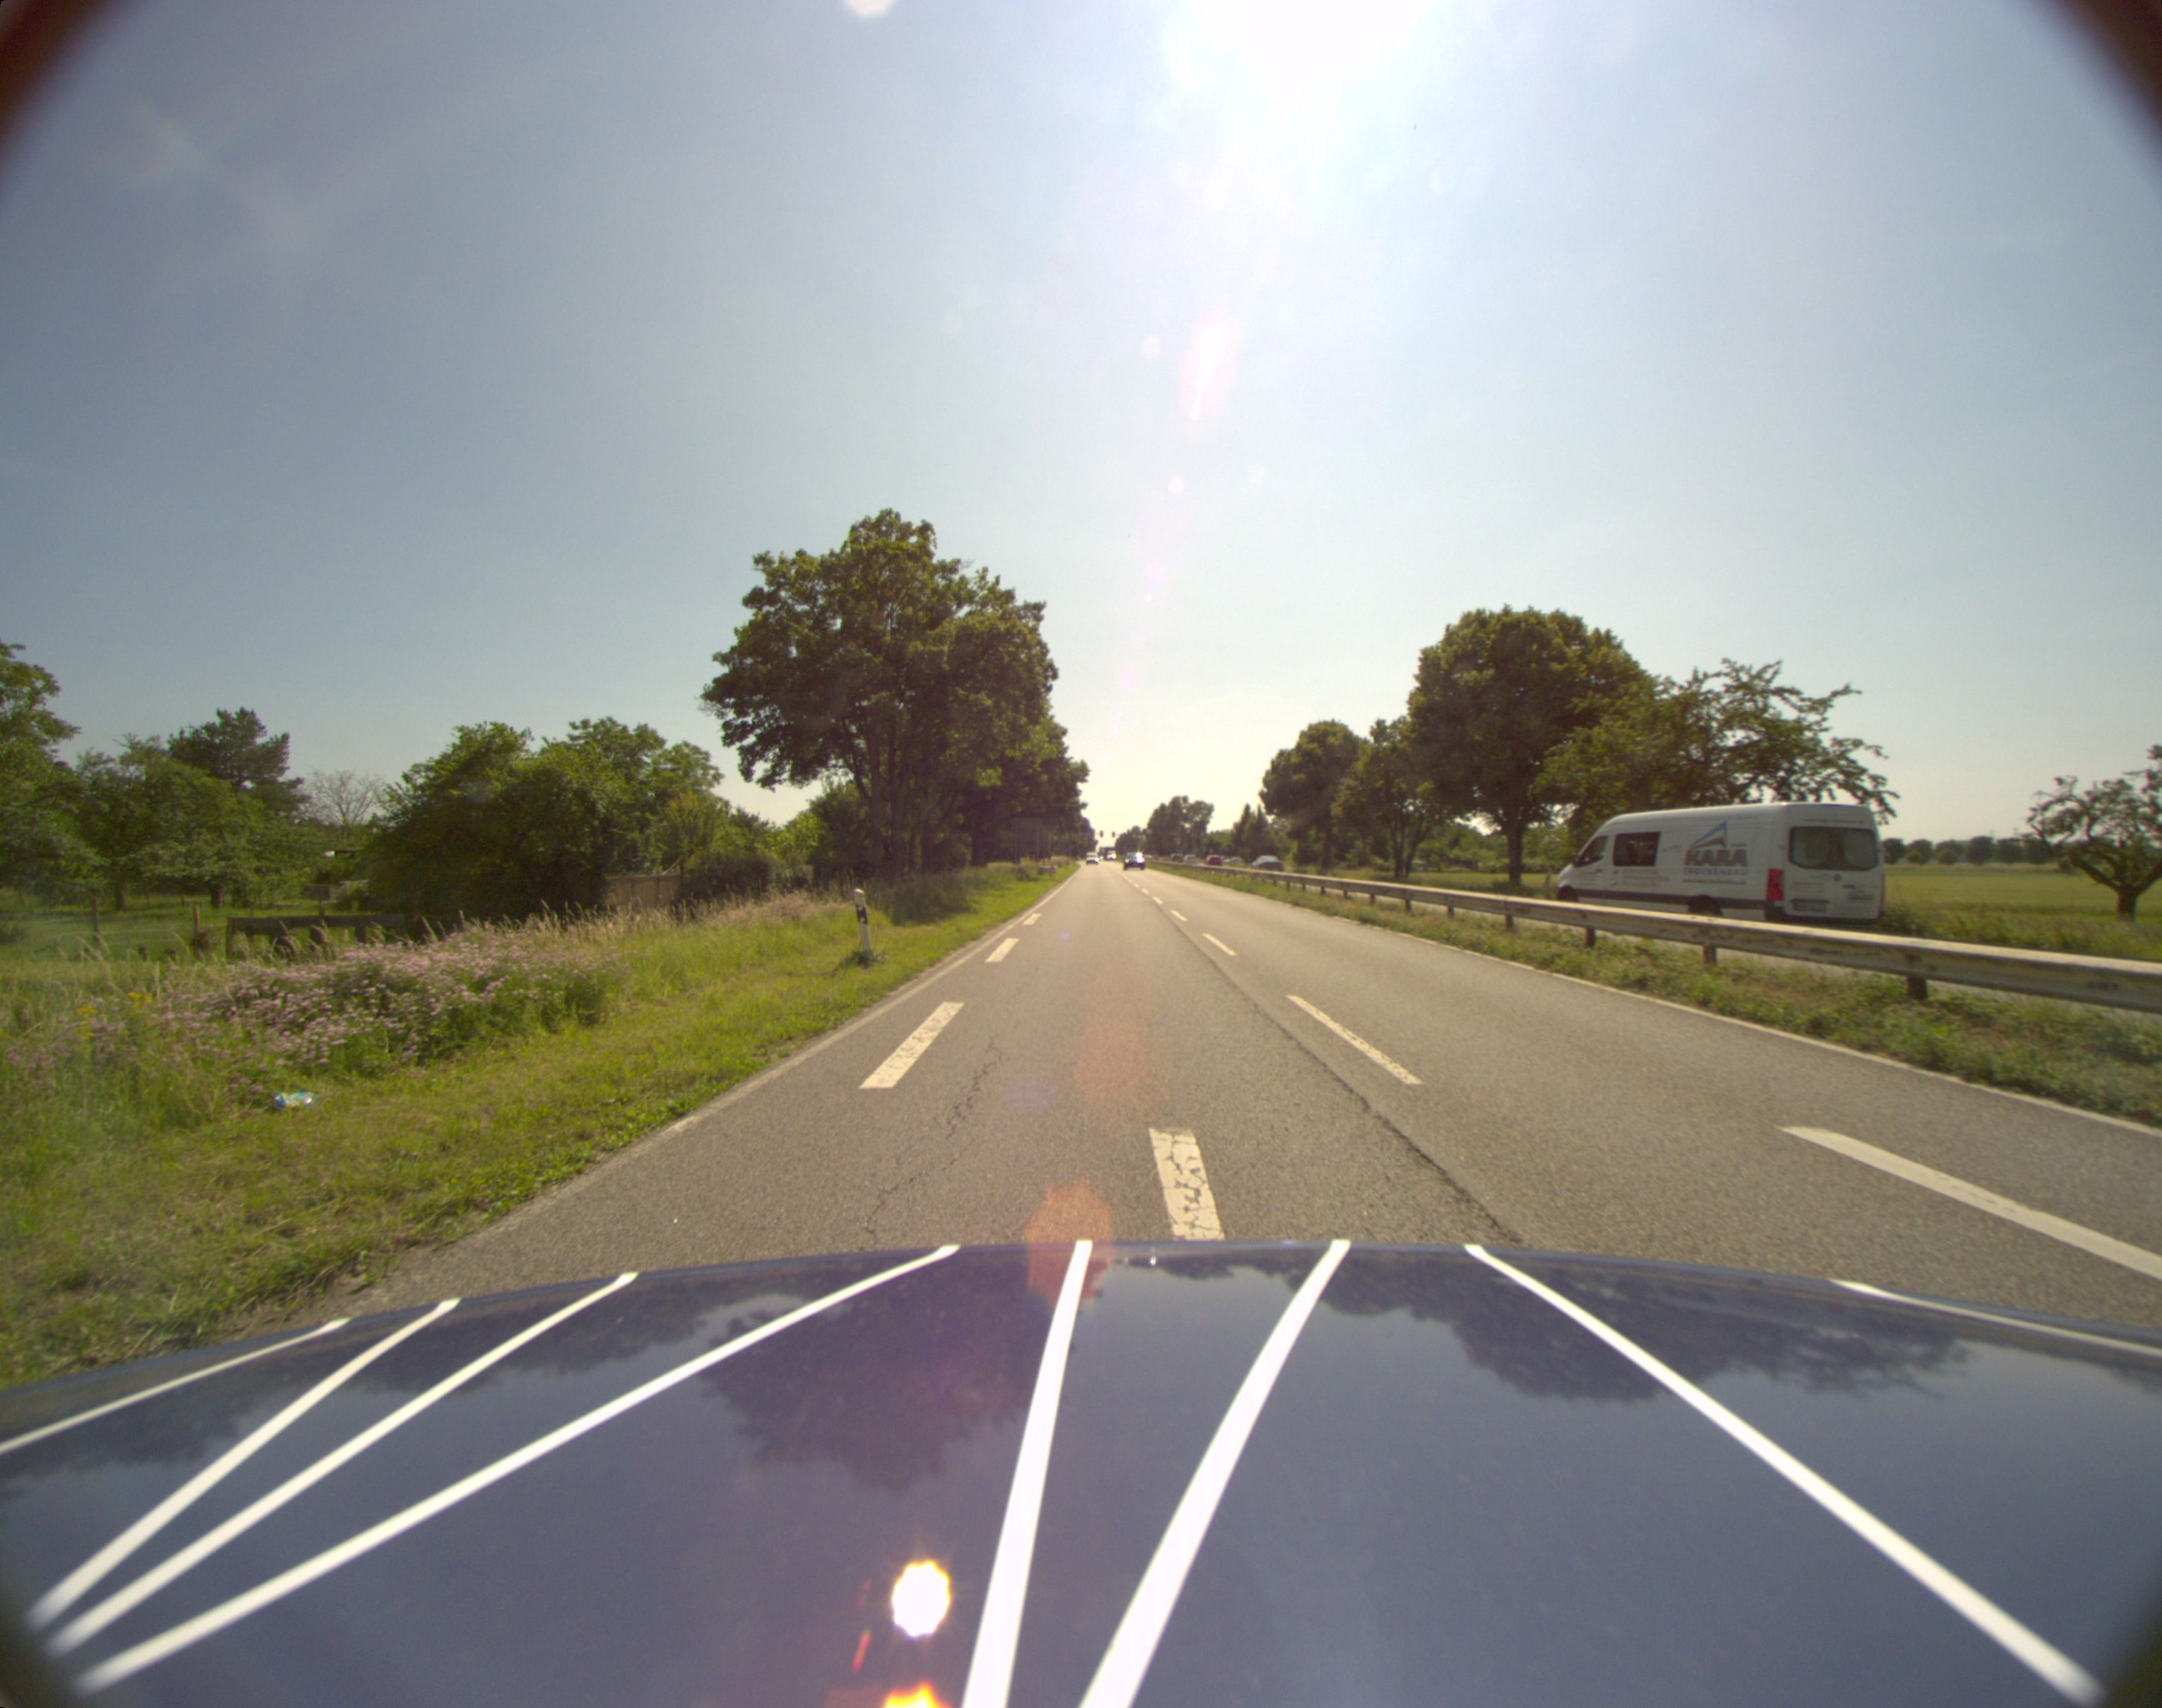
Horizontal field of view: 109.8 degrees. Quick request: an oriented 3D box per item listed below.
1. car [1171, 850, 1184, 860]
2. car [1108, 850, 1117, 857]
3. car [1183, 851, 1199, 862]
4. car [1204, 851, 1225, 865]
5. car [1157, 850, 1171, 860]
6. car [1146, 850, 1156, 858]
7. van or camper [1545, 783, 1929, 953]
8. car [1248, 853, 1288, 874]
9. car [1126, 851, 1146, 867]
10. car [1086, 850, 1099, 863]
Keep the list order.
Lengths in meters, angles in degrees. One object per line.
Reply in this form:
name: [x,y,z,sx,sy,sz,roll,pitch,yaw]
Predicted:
car: [16.049,0.176,126.465,1.765,1.581,3.894,0,0,0]
car: [7.510,-0.110,180.617,1.886,1.775,4.000,0,1,1]
car: [15.943,0.317,110.081,1.765,1.581,3.894,0,0,0]
car: [15.455,0.452,87.891,1.765,1.581,3.894,0,0,0]
car: [12.810,0.126,117.734,1.765,1.581,3.750,0,1,0]
car: [13.447,-0.026,146.094,1.765,1.581,3.750,0,1,0]
van or camper: [13.521,0.212,16.714,2.391,2.931,7.091,0,1,1]
car: [14.578,0.709,59.539,1.960,1.581,4.865,0,0,0]
car: [5.276,0.474,73.055,1.860,1.507,4.100,0,0,3]
car: [1.640,0.374,111.887,1.777,1.863,4.581,0,1,0]
